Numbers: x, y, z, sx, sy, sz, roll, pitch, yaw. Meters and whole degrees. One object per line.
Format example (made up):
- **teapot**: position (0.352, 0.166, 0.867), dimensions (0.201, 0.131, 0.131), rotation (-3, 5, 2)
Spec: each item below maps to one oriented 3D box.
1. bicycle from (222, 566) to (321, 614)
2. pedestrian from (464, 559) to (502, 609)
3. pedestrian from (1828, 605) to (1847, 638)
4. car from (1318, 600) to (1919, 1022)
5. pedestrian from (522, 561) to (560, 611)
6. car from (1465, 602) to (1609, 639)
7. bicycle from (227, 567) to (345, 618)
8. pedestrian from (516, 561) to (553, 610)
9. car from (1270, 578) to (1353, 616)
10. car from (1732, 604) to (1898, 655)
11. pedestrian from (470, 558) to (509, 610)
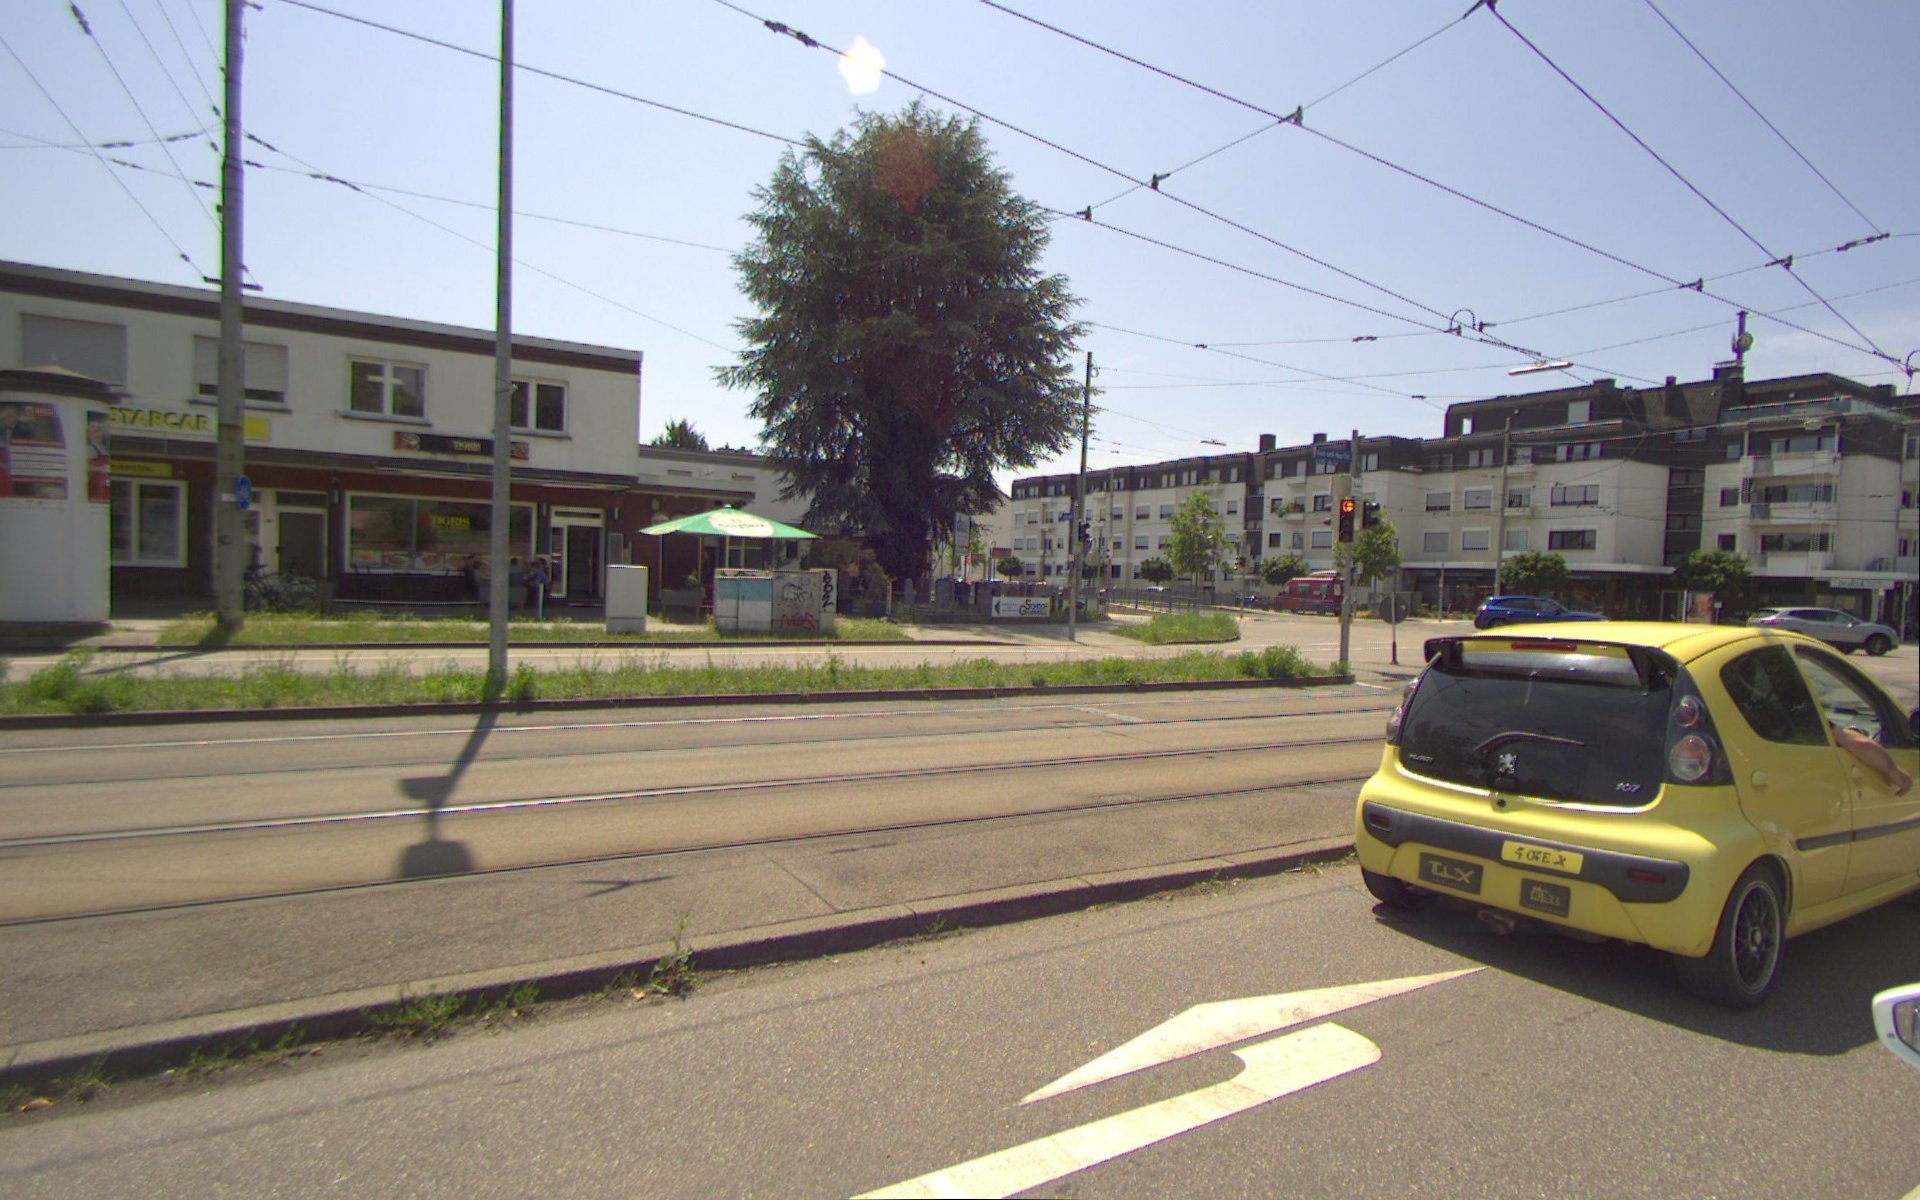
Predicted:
- **bicycle**: position (-15.266, -0.207, 22.309), dimensions (1.738, 0.992, 0.536), rotation (2, 0, -31)
- **pedestrian**: position (-12.640, -0.419, 26.609), dimensions (0.832, 1.285, 0.586), rotation (2, 0, -30)
- **pedestrian**: position (48.970, 1.202, 56.075), dimensions (0.598, 1.777, 0.506), rotation (2, 0, 16)
- **car**: position (3.603, 0.754, 5.082), dimensions (3.254, 1.464, 1.715), rotation (1, 0, -31)
- **pedestrian**: position (-11.098, -0.361, 26.601), dimensions (0.832, 1.285, 0.586), rotation (2, 0, -30)
- **car**: position (22.305, 0.775, 38.904), dimensions (4.704, 1.253, 1.934), rotation (2, 0, 34)
- **bicycle**: position (-14.255, -0.145, 21.317), dimensions (2.006, 0.992, 0.607), rotation (2, 0, -31)
- **pedestrian**: position (-11.535, -0.379, 27.216), dimensions (0.832, 1.285, 0.586), rotation (2, 0, -30)
- **car**: position (23.833, -0.214, 68.225), dimensions (2.219, 2.372, 5.038), rotation (2, 0, -31)
- **car**: position (30.373, 1.037, 35.809), dimensions (4.068, 1.605, 1.941), rotation (2, 0, 10)
- **pedestrian**: position (-12.181, -0.402, 25.998), dimensions (0.832, 1.285, 0.586), rotation (2, 0, -30)
